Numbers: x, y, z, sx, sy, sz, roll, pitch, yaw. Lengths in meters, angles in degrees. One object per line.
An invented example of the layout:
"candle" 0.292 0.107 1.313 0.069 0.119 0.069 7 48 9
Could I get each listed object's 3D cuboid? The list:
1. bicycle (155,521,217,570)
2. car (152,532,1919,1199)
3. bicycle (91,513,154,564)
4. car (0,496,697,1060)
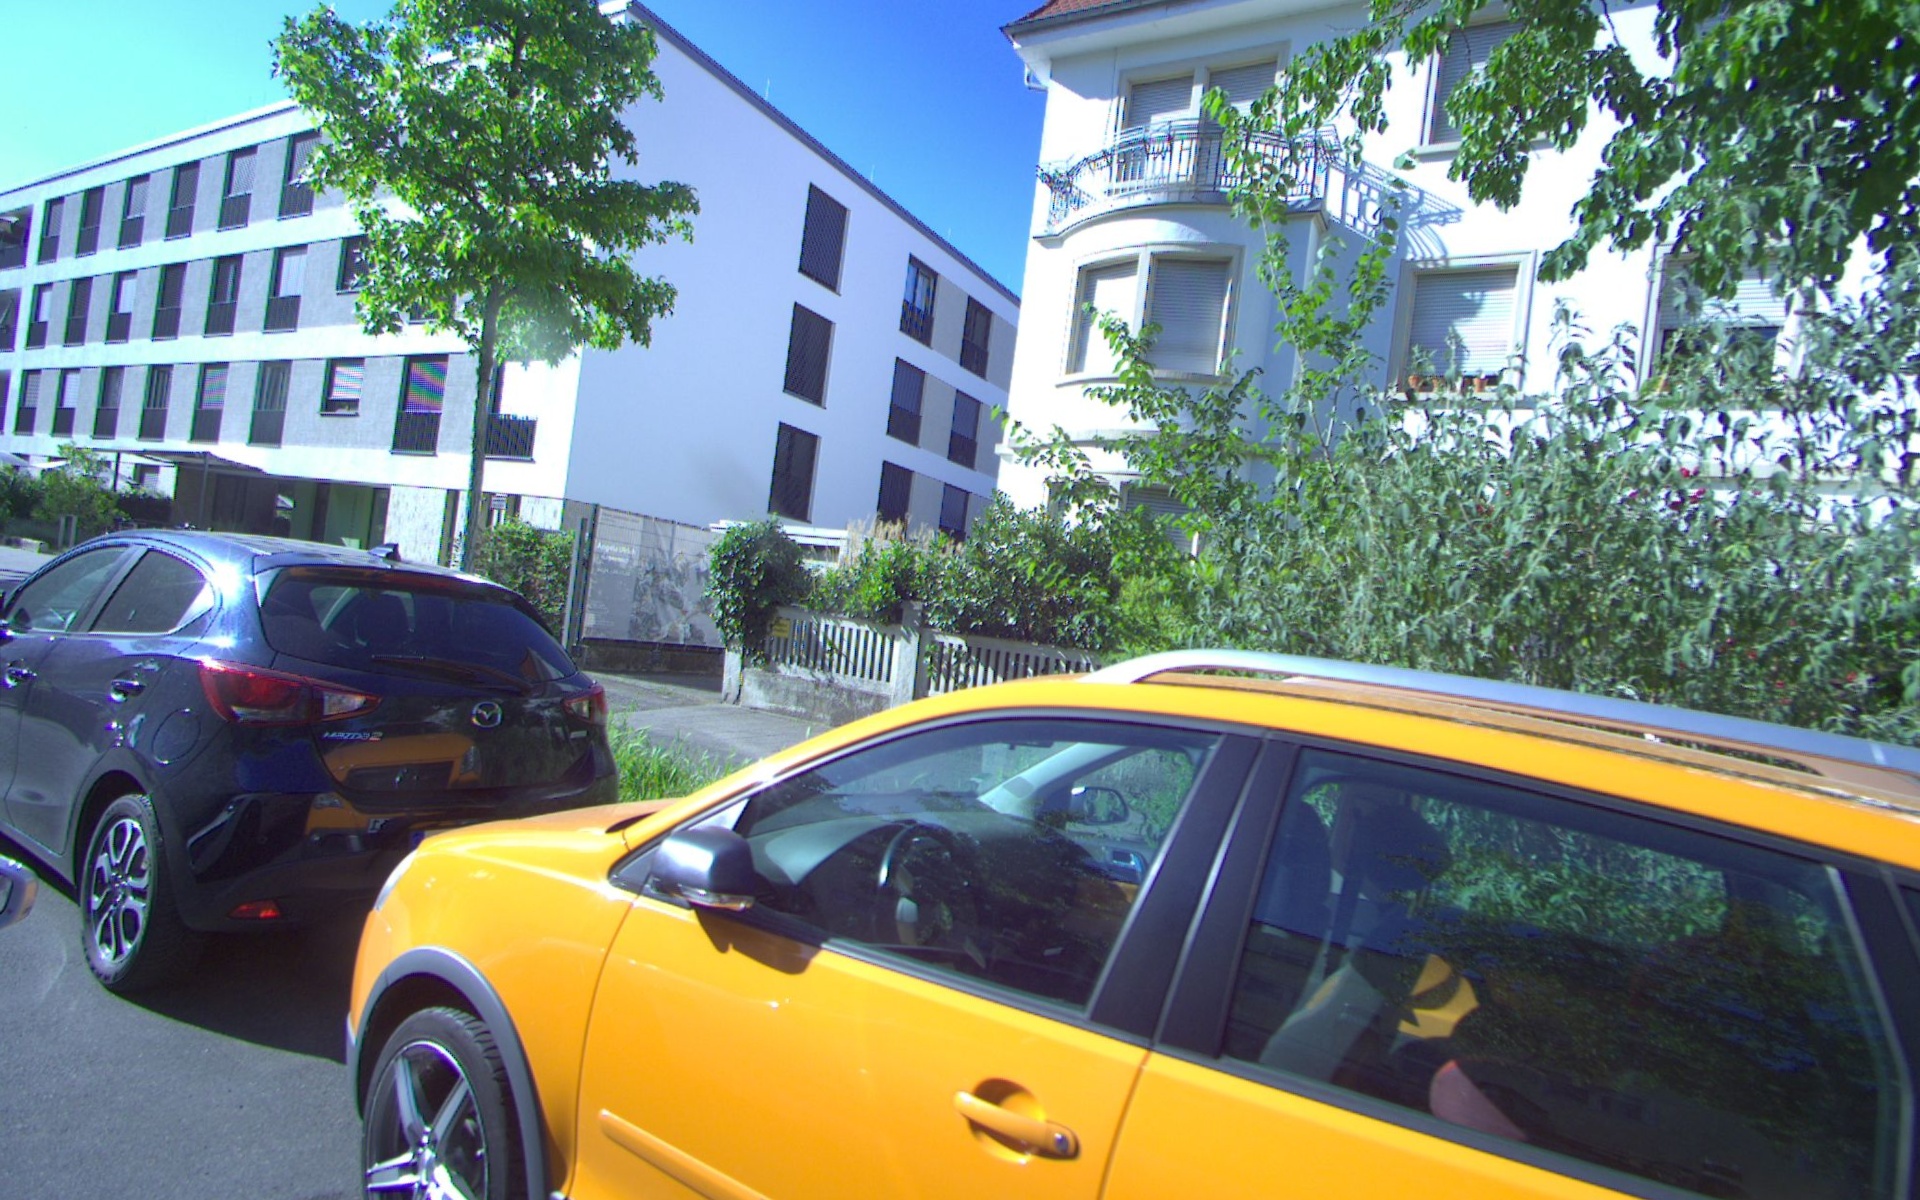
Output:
"bicycle" -20.148 -1.425 26.179 1.749 1.068 0.547 7 1 28
"car" 0.338 0.853 1.999 4.031 1.472 1.639 7 0 31
"bicycle" -20.802 -1.533 24.983 1.662 1.068 0.547 7 1 28
"car" -3.325 0.411 4.577 4.014 1.467 1.703 7 0 31
